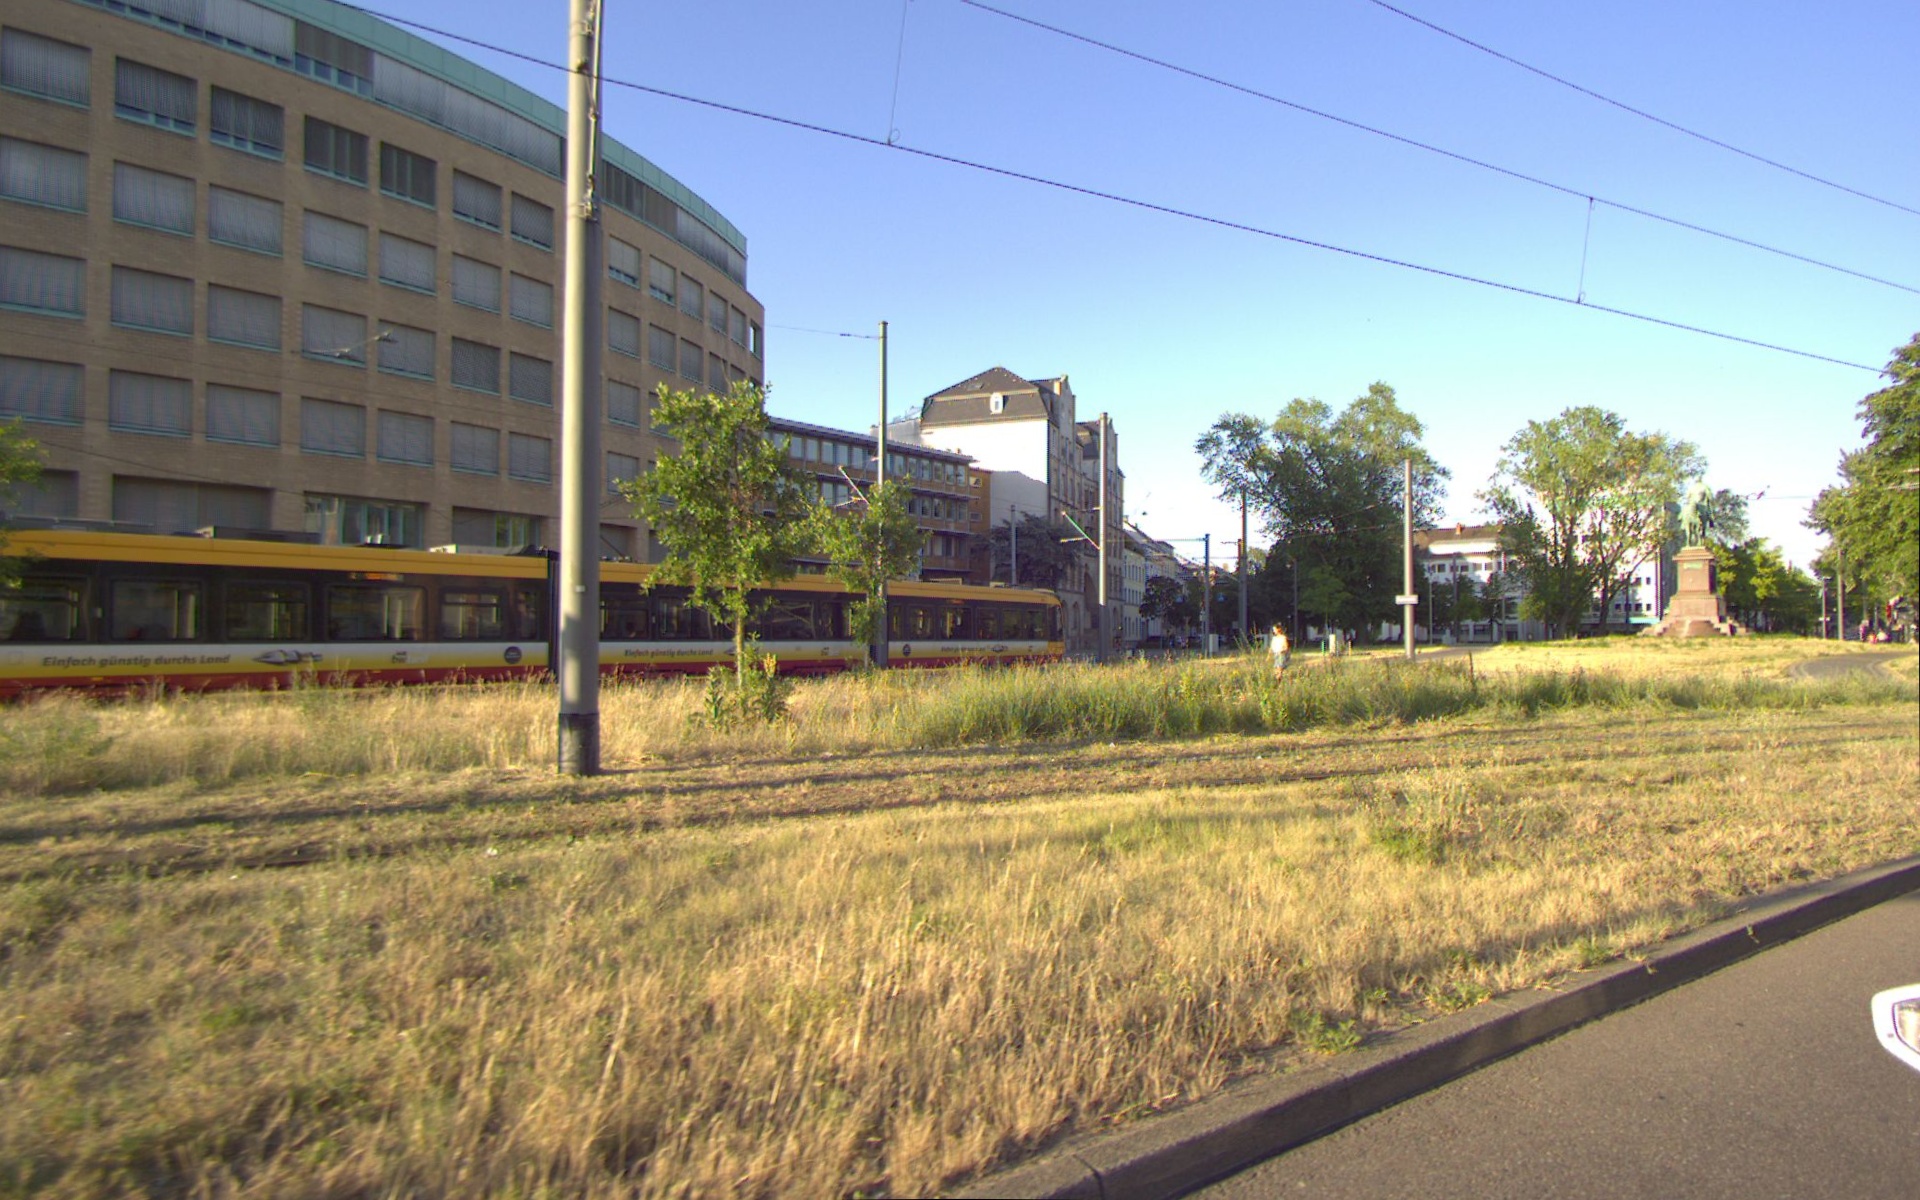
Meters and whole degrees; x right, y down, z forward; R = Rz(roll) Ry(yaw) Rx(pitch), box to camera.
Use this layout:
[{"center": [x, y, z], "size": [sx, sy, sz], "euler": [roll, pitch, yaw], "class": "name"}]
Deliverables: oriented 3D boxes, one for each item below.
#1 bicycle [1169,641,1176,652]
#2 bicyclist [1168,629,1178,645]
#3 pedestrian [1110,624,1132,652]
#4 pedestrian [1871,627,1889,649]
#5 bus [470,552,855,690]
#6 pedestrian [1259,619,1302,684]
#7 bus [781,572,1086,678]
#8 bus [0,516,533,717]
[{"center": [22.132, 4.839, 104.540], "size": [0.463, 1.024, 2.201], "euler": [0, -1, 20], "class": "bicycle"}, {"center": [22.246, 3.873, 104.870], "size": [0.934, 1.713, 0.898], "euler": [0, -1, 20], "class": "bicyclist"}, {"center": [12.772, 2.997, 79.516], "size": [1.044, 2.122, 1.626], "euler": [0, -1, 40], "class": "pedestrian"}, {"center": [81.260, 3.352, 88.706], "size": [0.982, 1.864, 0.859], "euler": [-1, 0, -23], "class": "pedestrian"}, {"center": [-8.300, 0.591, 29.818], "size": [3.706, 3.375, 10.680], "euler": [0, -1, 41], "class": "bus"}, {"center": [7.525, 1.201, 23.581], "size": [0.691, 1.478, 0.667], "euler": [1, -1, -28], "class": "pedestrian"}, {"center": [-0.434, 0.918, 38.980], "size": [3.705, 3.407, 13.646], "euler": [0, -1, 40], "class": "bus"}, {"center": [-15.805, 0.342, 21.290], "size": [3.706, 3.501, 12.068], "euler": [0, -1, 41], "class": "bus"}]
